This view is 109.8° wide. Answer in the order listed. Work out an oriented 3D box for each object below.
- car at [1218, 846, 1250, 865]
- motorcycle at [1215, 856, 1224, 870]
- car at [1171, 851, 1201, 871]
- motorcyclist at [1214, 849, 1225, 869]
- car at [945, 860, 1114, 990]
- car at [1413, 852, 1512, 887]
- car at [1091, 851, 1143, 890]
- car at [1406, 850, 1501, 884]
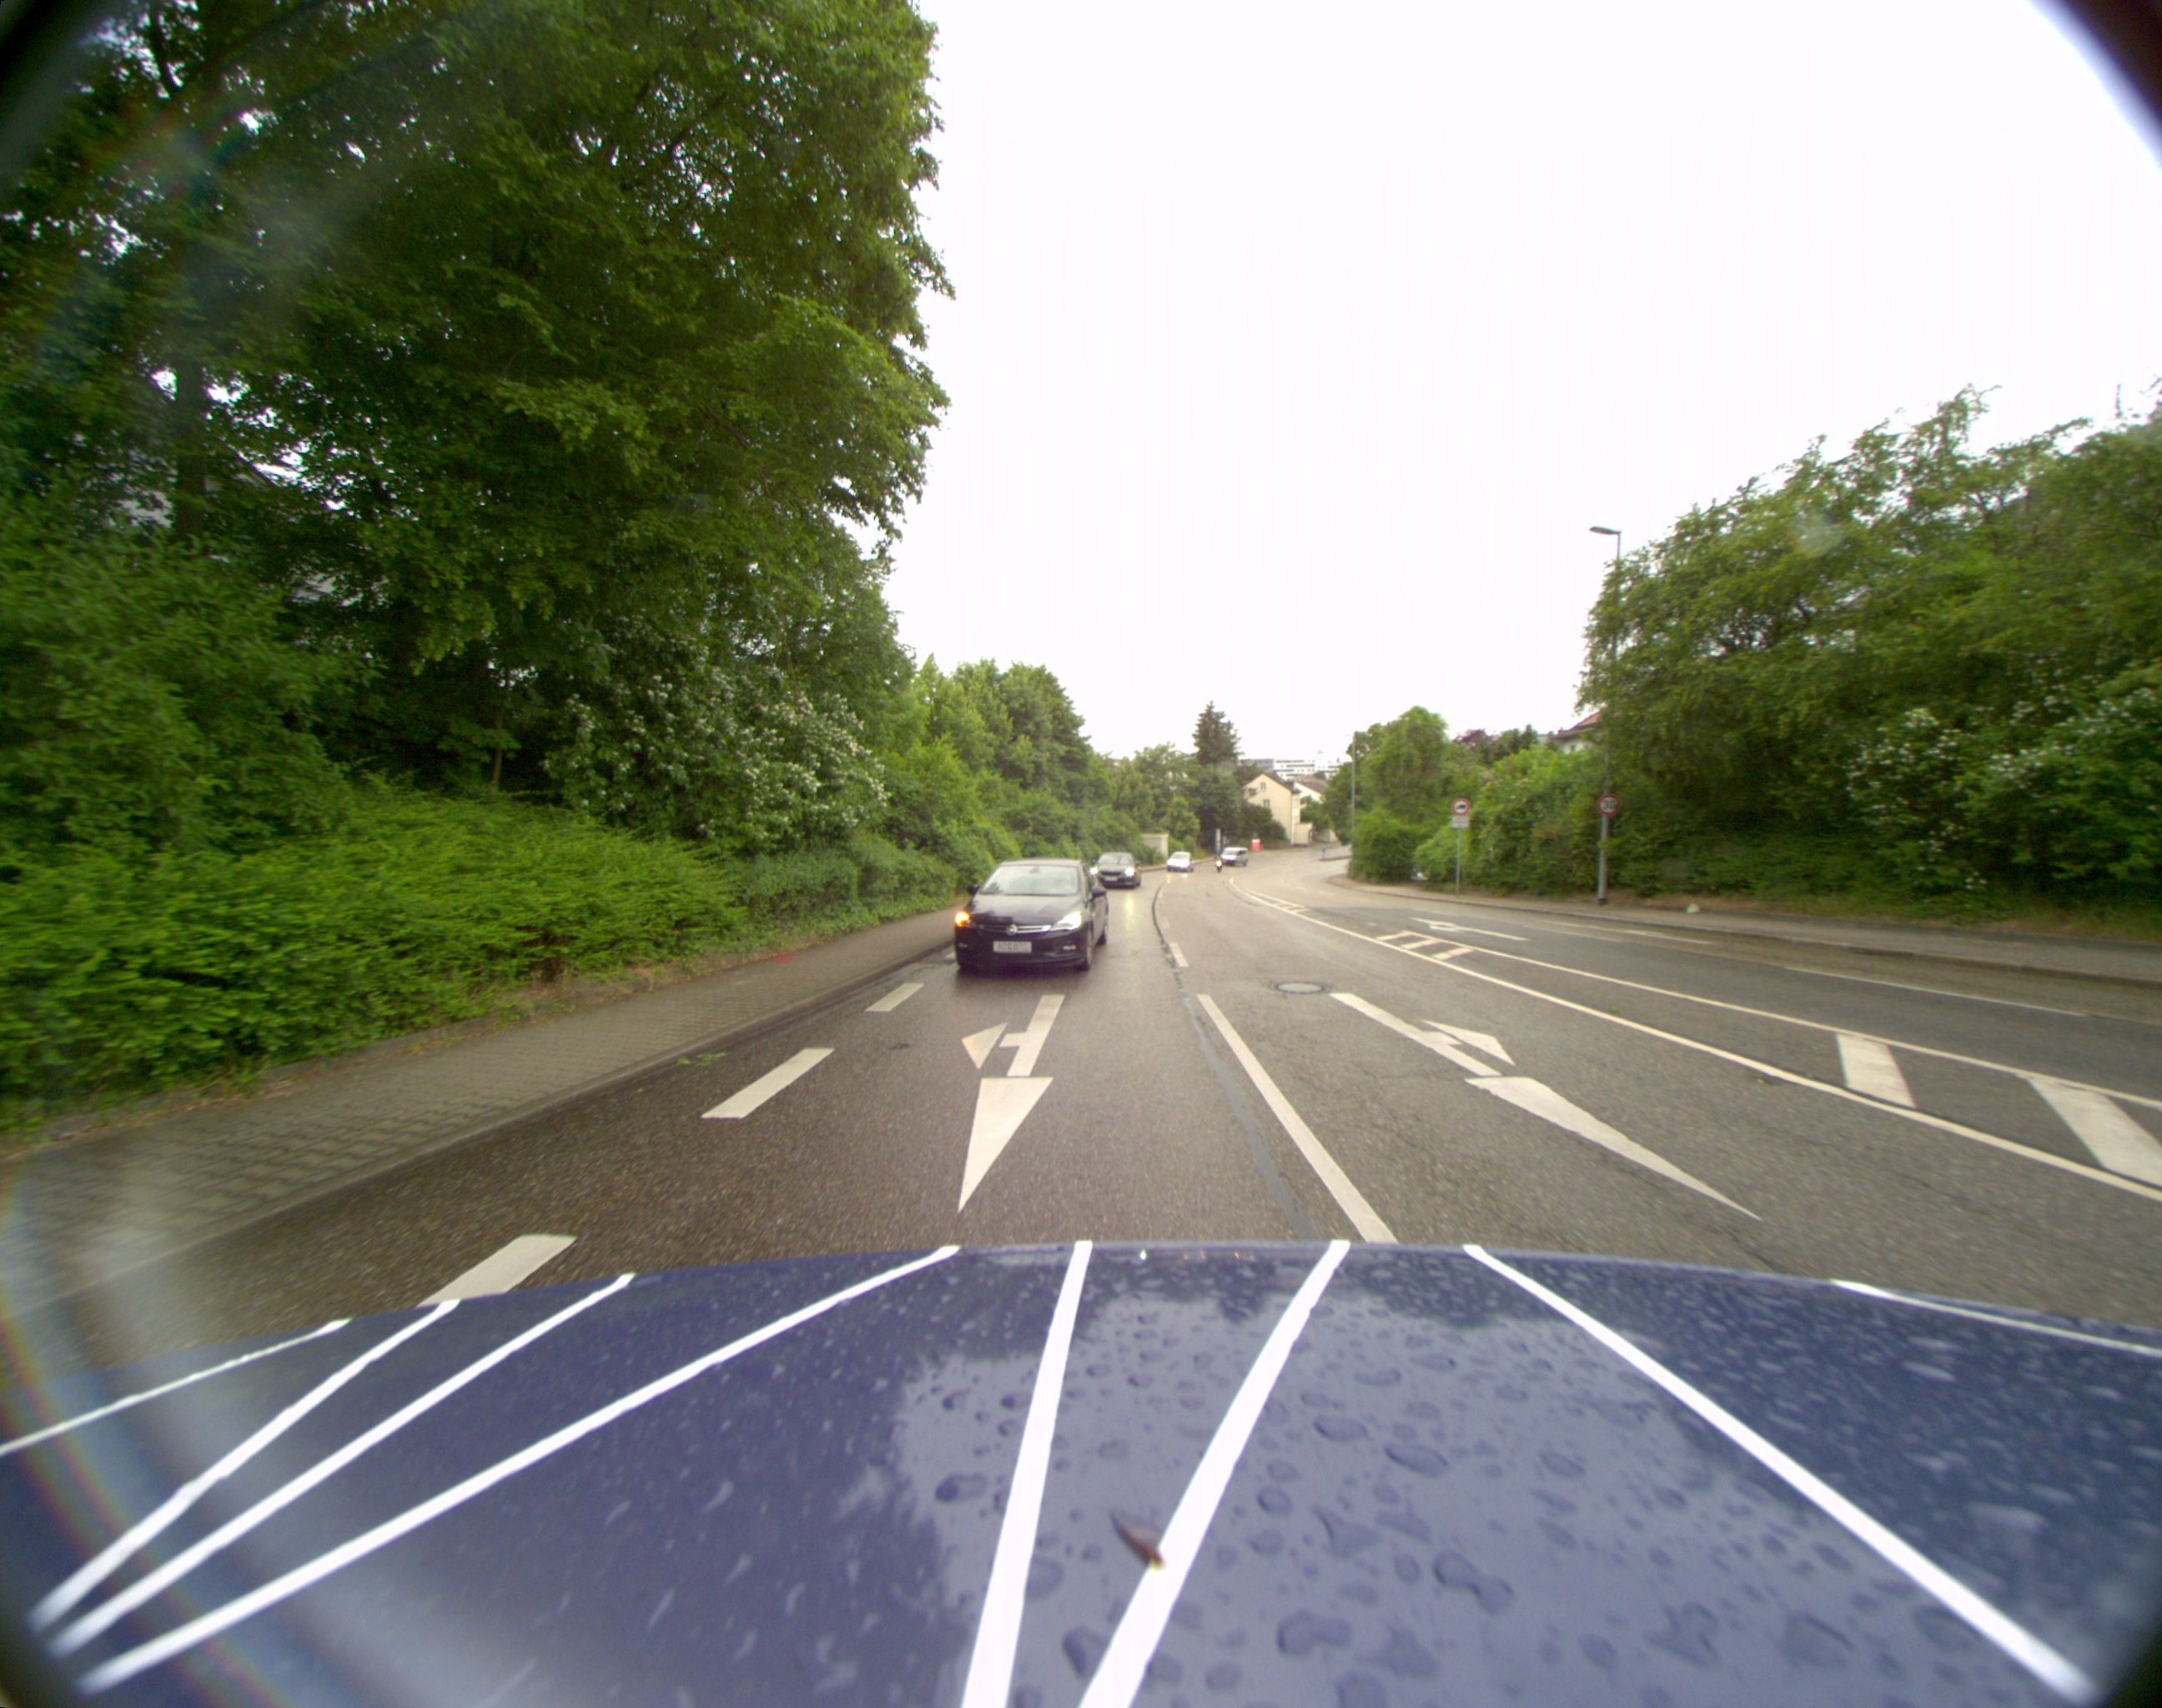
[{"bbox_3d":[15.467,0.118,76.748,1.773,1.765,4.008,4,2,31],"label":"car"},{"bbox_3d":[11.466,0.722,62.913,0.692,1.047,1.748,3,2,12],"label":"motorcycle"},{"bbox_3d":[8.455,0.497,61.027,1.815,1.431,4.004,3,2,15],"label":"car"},{"bbox_3d":[11.462,0.434,62.794,0.766,1.633,0.675,2,2,11],"label":"motorcyclist"},{"bbox_3d":[-0.555,0.884,11.373,1.815,1.434,4.164,2,1,6],"label":"car"},{"bbox_3d":[18.465,0.749,36.934,3.908,1.432,1.812,-4,0,9],"label":"car"},{"bbox_3d":[1.603,0.645,32.409,1.871,1.497,4.199,1,1,7],"label":"car"},{"bbox_3d":[19.356,0.659,39.645,3.995,1.527,2.001,-4,0,8],"label":"car"}]
